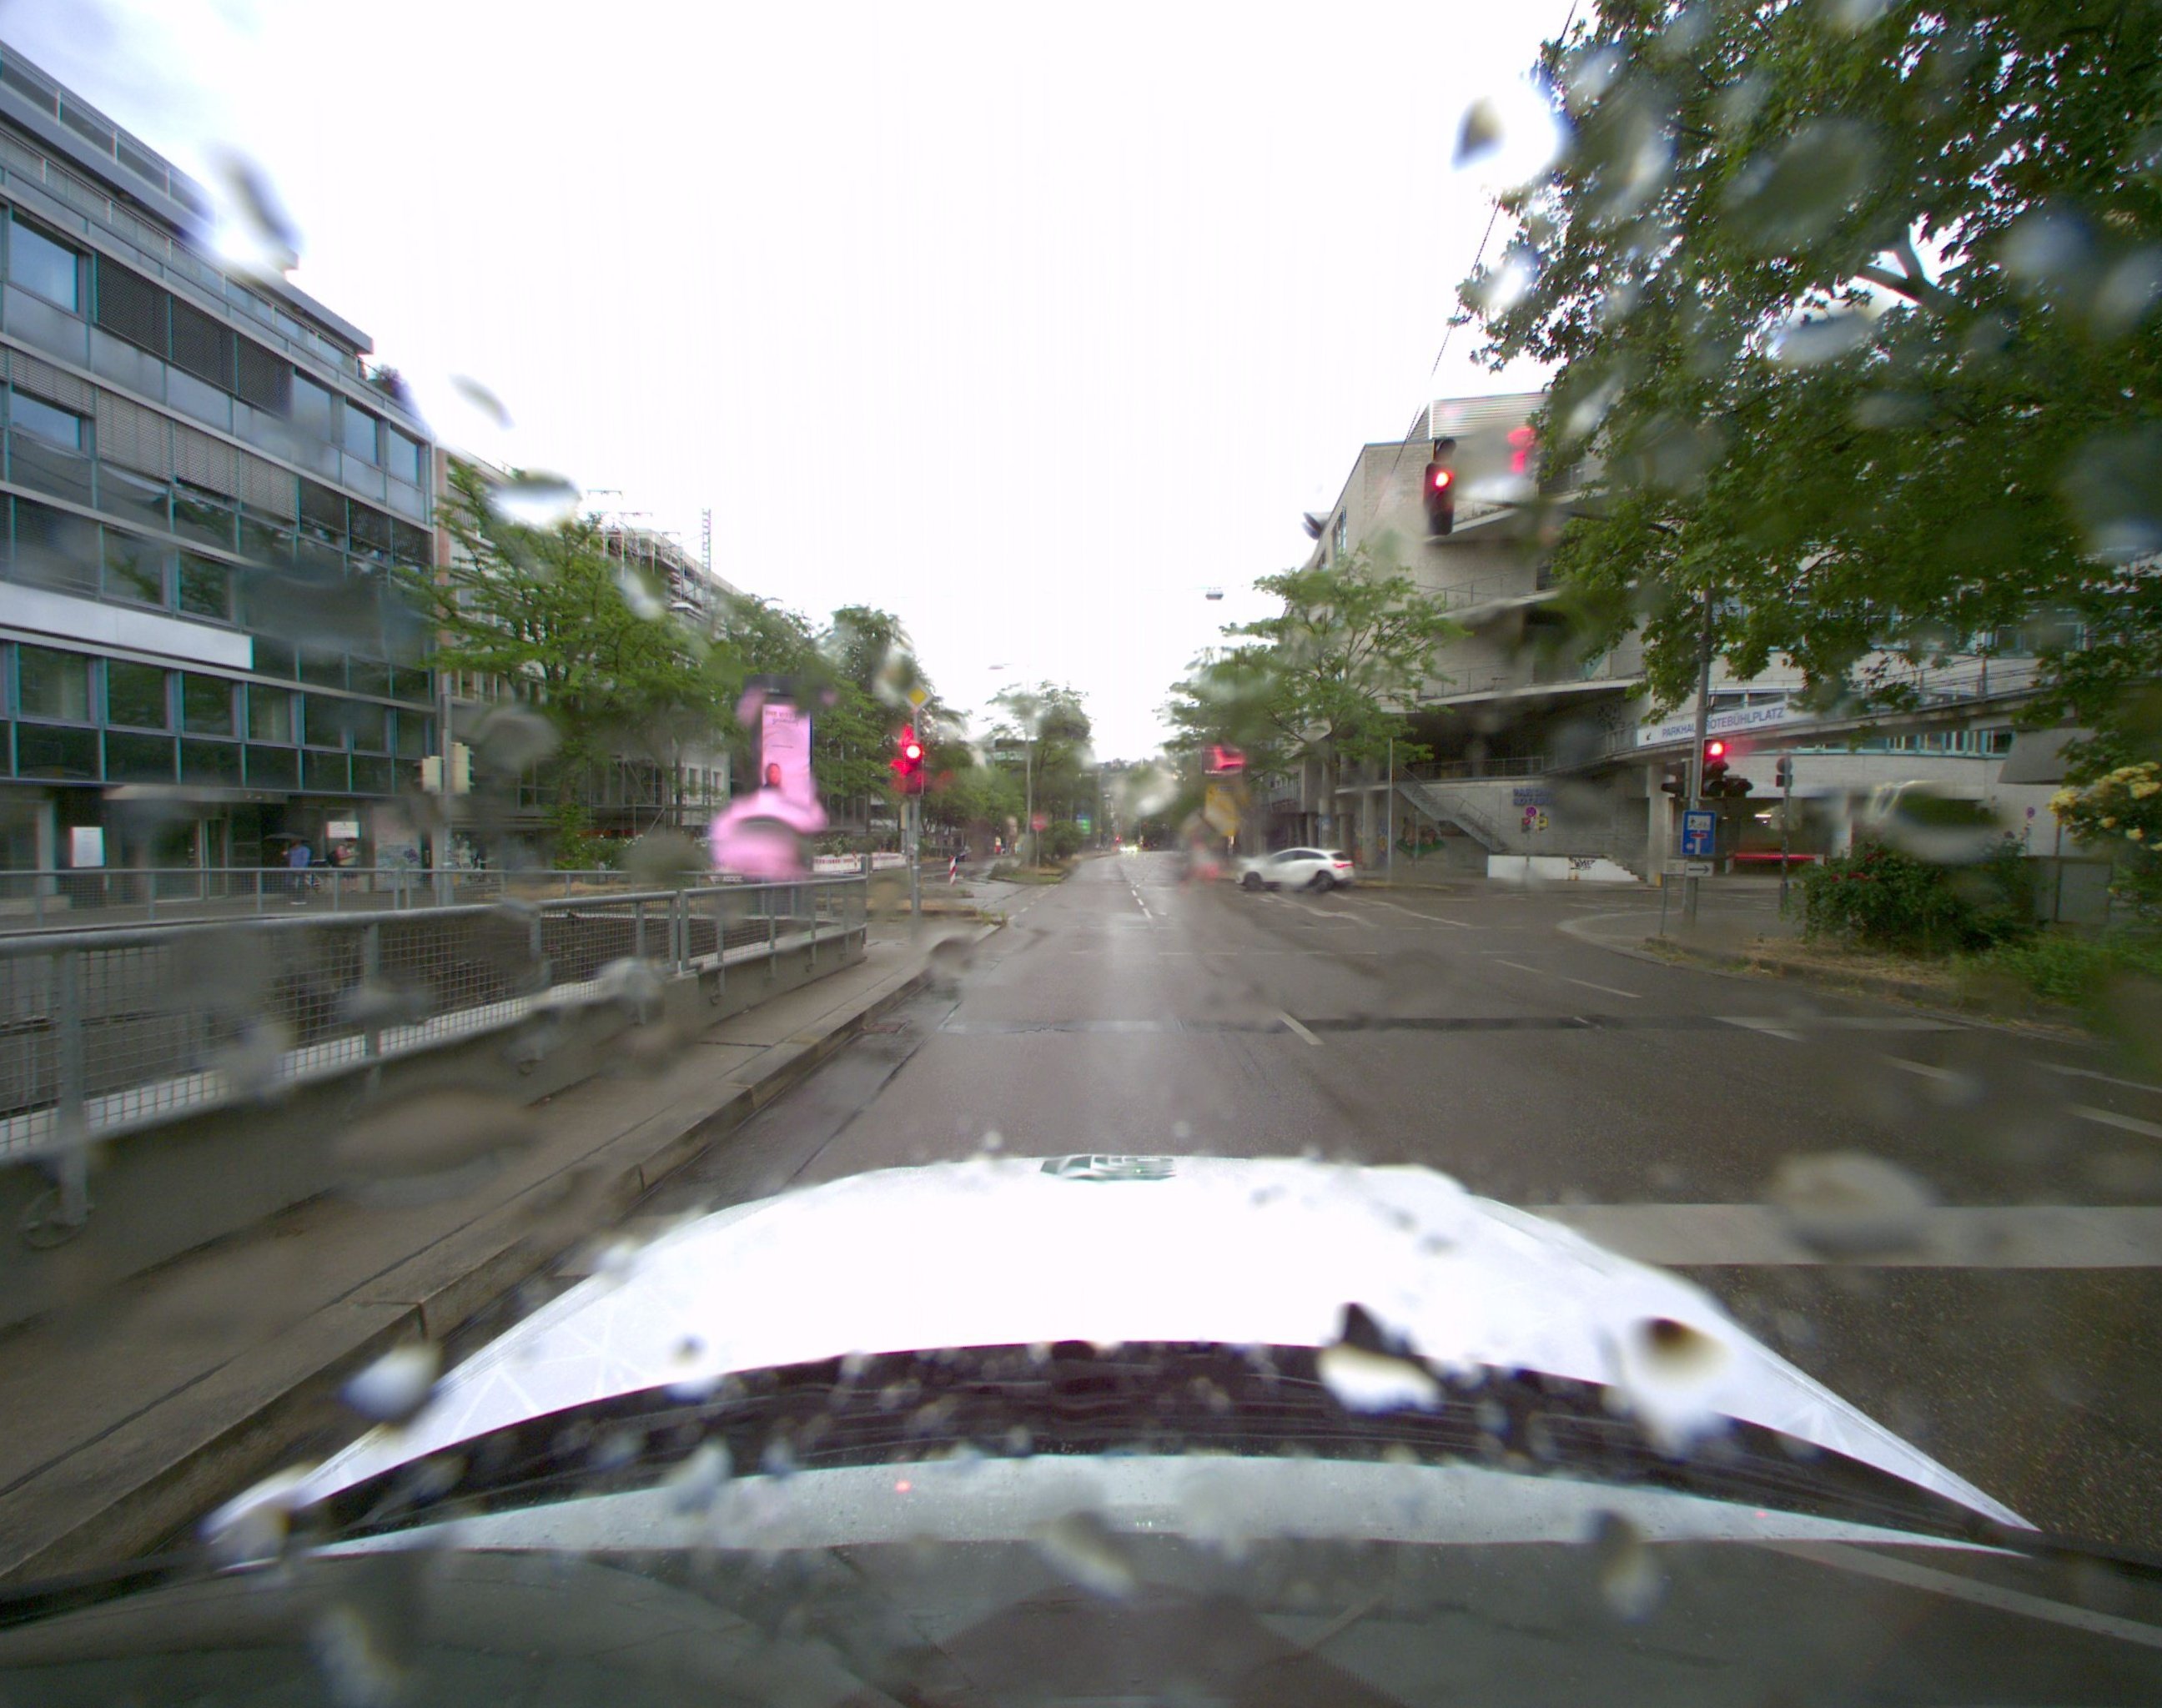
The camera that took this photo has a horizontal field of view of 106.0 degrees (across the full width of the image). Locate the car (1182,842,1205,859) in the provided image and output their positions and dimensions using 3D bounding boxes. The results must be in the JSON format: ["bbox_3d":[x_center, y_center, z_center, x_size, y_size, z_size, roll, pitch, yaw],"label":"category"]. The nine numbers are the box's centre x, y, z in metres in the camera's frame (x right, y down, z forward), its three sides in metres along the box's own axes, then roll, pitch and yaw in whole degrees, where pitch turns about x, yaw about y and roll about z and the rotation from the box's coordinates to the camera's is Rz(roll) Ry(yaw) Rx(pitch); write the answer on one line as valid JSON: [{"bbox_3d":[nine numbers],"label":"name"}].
[{"bbox_3d":[11.531,-0.378,83.350,2.324,1.691,4.010,0,0,9],"label":"car"}]

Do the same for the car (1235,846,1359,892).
[{"bbox_3d":[8.306,0.541,31.381,4.245,1.640,1.846,1,0,33],"label":"car"}]

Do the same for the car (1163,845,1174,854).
[{"bbox_3d":[17.856,-0.840,166.649,1.986,1.736,4.001,0,-1,2],"label":"car"}]

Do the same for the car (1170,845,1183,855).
[{"bbox_3d":[17.235,-0.766,147.626,1.986,1.723,4.001,0,-1,1],"label":"car"}]

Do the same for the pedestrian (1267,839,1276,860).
[{"bbox_3d":[17.245,-0.404,73.606,0.770,1.920,0.705,-1,-1,11],"label":"pedestrian"}]

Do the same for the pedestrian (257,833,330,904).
[{"bbox_3d":[-20.882,0.376,21.631,0.854,1.838,1.060,1,0,2],"label":"pedestrian"}]

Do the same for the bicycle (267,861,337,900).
[{"bbox_3d":[-22.958,0.771,24.043,0.444,1.085,1.567,0,0,6],"label":"bicycle"}]

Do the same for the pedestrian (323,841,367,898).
[{"bbox_3d":[-22.813,0.470,25.243,0.694,1.741,0.694,1,0,-4],"label":"pedestrian"}]
